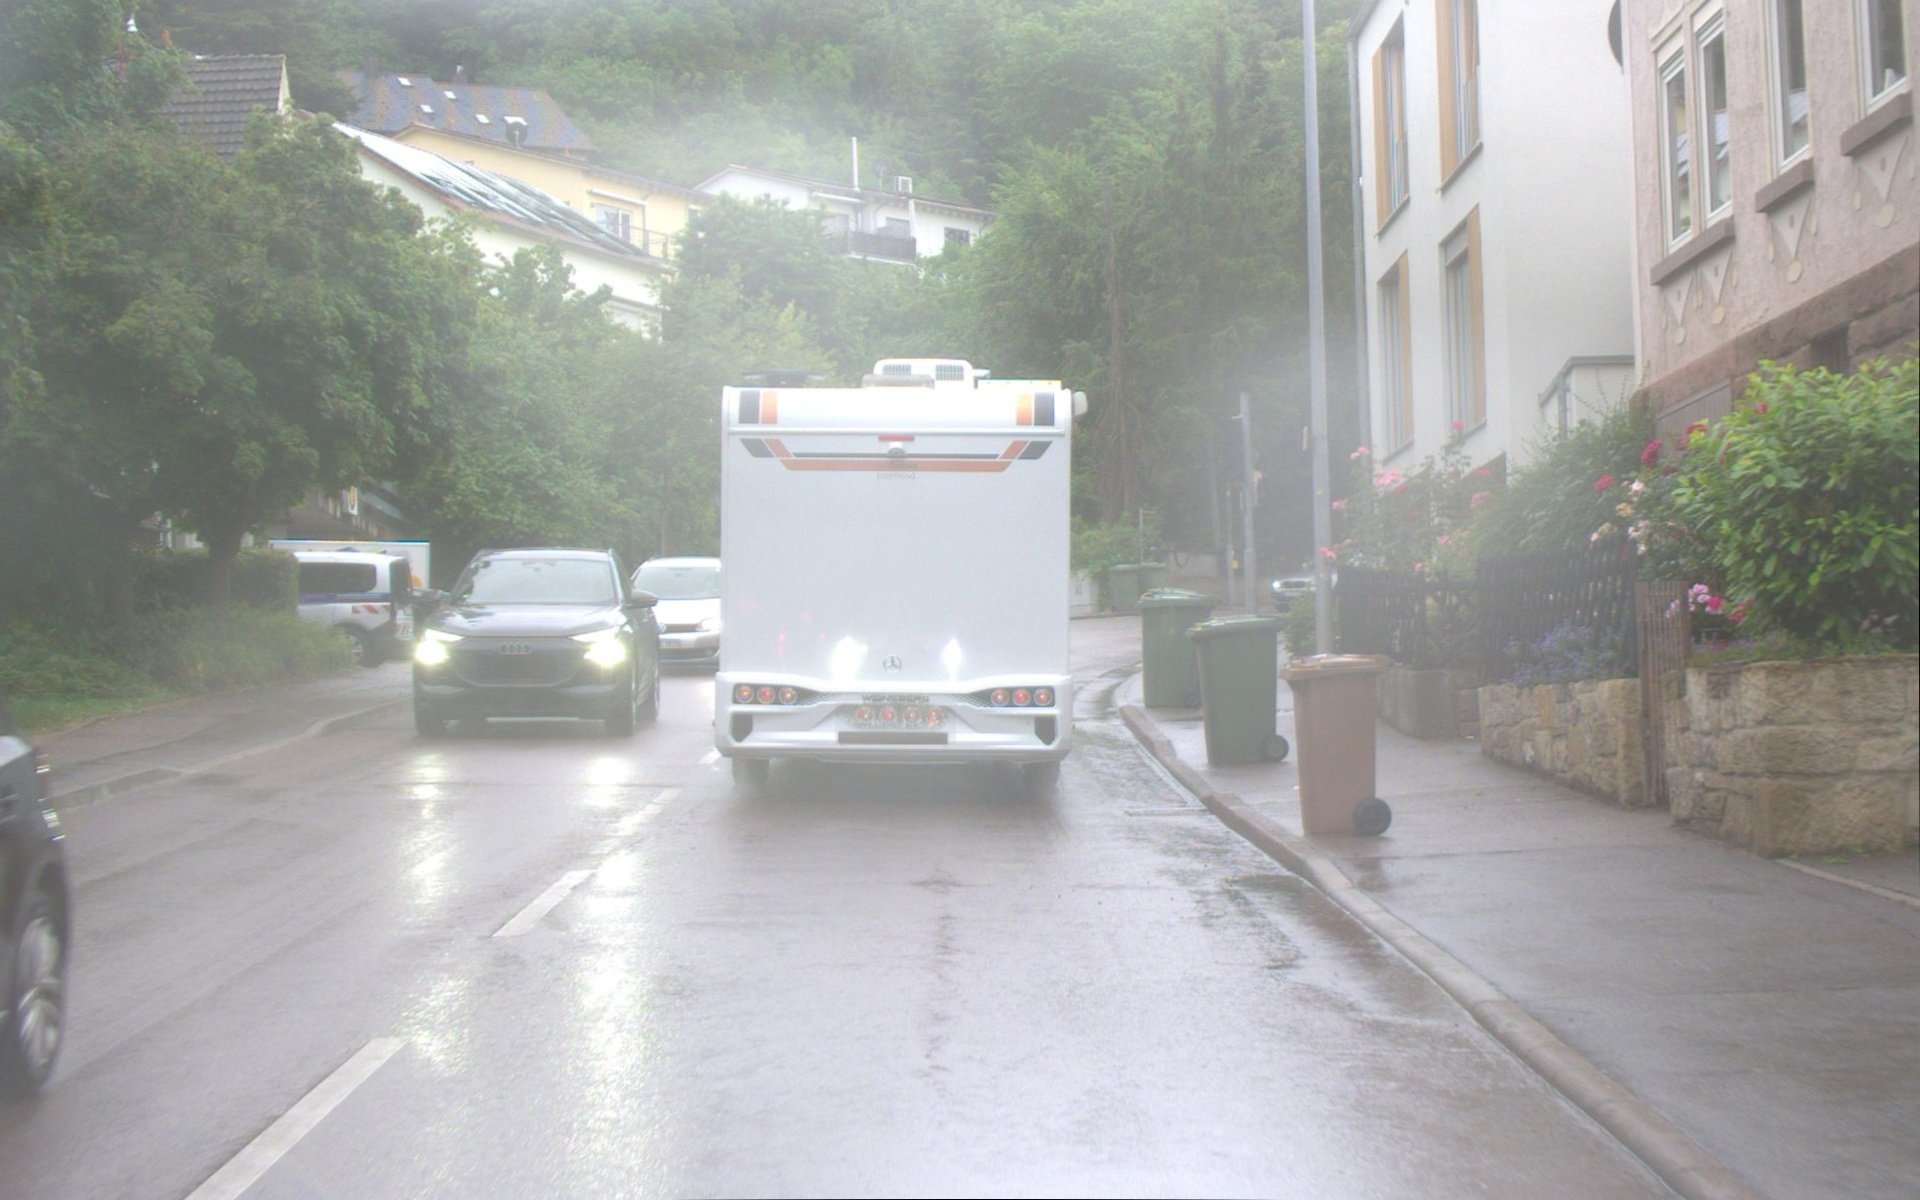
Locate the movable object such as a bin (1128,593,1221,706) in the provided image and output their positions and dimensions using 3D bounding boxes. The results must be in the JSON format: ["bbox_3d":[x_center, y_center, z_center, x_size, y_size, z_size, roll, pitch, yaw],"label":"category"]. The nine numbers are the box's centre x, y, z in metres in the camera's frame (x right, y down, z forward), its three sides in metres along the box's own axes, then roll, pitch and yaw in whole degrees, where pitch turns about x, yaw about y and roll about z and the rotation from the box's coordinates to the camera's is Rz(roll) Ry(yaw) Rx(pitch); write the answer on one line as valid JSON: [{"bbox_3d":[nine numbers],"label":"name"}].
[{"bbox_3d":[2.034,0.466,32.713,0.835,1.057,0.750,0,1,1],"label":"movable object such as a bin"}]

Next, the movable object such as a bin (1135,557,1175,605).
[{"bbox_3d":[4.444,-0.426,78.377,0.704,1.084,0.560,-1,1,-30],"label":"movable object such as a bin"}]

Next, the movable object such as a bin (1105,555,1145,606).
[{"bbox_3d":[3.744,-0.449,78.016,0.666,1.135,0.626,-1,1,-30],"label":"movable object such as a bin"}]

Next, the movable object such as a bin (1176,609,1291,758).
[{"bbox_3d":[2.003,0.605,25.256,0.796,1.066,0.761,0,1,1],"label":"movable object such as a bin"}]

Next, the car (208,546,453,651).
[{"bbox_3d":[-10.833,-0.028,59.262,4.075,1.768,1.800,0,0,-10],"label":"car"}]

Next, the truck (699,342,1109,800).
[{"bbox_3d":[-0.460,-0.221,24.286,2.515,2.808,6.202,0,1,-2],"label":"truck"}]

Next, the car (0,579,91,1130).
[{"bbox_3d":[-3.303,0.685,8.194,1.618,1.436,3.738,0,1,-2],"label":"car"}]

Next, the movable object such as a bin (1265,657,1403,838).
[{"bbox_3d":[1.933,0.754,17.817,0.630,0.894,0.712,0,1,0],"label":"movable object such as a bin"}]

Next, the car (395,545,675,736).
[{"bbox_3d":[-3.783,0.316,31.309,1.918,1.618,4.363,0,1,1],"label":"car"}]

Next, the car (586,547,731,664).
[{"bbox_3d":[-4.128,0.049,47.546,1.804,1.548,3.830,0,1,-2],"label":"car"}]

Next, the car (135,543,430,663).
[{"bbox_3d":[-10.386,0.032,52.919,4.106,1.794,2.000,0,1,2],"label":"car"}]
